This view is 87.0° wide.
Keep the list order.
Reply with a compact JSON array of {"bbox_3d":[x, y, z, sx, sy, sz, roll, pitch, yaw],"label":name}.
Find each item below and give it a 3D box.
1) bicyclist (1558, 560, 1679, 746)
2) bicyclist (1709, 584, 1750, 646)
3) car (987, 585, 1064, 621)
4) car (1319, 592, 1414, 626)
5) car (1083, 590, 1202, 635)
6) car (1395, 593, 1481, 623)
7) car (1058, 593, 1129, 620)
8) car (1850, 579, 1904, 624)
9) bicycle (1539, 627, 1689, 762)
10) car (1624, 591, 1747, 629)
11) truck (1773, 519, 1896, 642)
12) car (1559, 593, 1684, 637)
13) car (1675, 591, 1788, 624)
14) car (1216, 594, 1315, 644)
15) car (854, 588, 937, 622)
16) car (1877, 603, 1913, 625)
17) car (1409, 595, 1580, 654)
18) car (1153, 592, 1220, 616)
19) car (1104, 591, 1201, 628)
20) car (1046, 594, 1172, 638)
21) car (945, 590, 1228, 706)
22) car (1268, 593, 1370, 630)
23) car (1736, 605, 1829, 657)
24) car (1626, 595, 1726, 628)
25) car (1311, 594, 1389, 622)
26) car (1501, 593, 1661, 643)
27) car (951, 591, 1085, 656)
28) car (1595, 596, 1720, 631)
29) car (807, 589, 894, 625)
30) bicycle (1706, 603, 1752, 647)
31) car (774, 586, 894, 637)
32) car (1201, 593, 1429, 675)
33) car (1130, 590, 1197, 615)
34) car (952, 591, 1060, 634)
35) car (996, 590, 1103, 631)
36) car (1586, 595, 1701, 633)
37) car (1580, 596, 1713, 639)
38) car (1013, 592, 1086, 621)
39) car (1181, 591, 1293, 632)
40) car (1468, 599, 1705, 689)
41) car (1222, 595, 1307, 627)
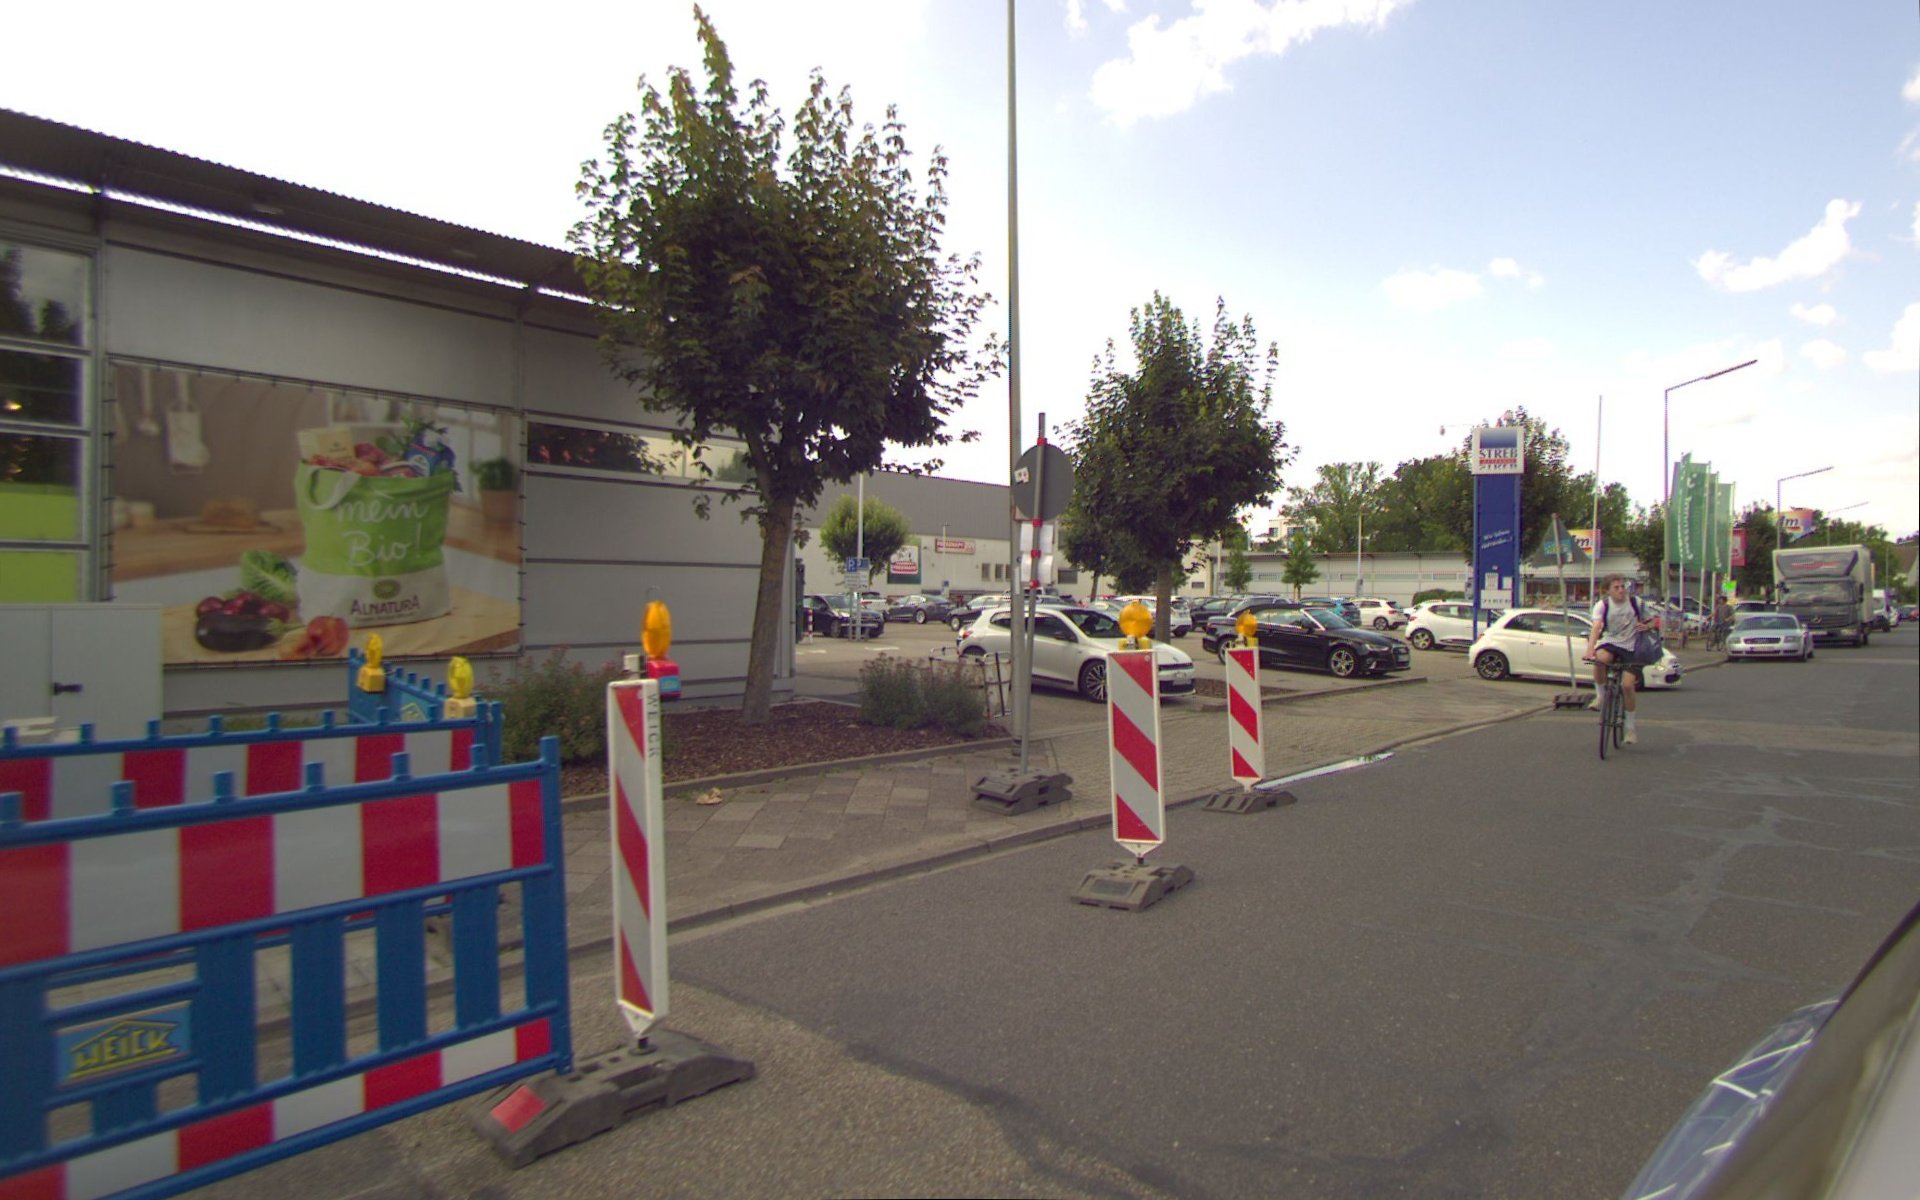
[{"bbox_3d":[6.923,0.526,10.630,0.806,1.815,1.187,-2,-2,45],"label":"bicyclist"},{"bbox_3d":[24.723,0.474,32.503,0.815,1.933,0.796,1,3,-42],"label":"bicyclist"},{"bbox_3d":[3.546,0.145,55.370,4.065,1.823,1.698,2,1,43],"label":"car"},{"bbox_3d":[19.710,0.396,49.121,3.935,1.502,1.698,2,1,43],"label":"car"},{"bbox_3d":[6.739,0.436,37.634,4.058,1.502,1.698,2,1,43],"label":"car"},{"bbox_3d":[26.345,0.429,55.861,3.935,1.502,1.698,2,1,43],"label":"car"},{"bbox_3d":[8.046,0.355,61.155,4.030,1.502,1.698,2,1,43],"label":"car"},{"bbox_3d":[53.130,0.104,58.587,2.052,2.440,5.366,-3,-2,44],"label":"car"},{"bbox_3d":[6.871,0.903,10.552,0.798,1.195,2.584,-2,-1,44],"label":"bicycle"},{"bbox_3d":[37.437,0.480,52.304,1.872,1.810,4.896,1,1,-45],"label":"car"},{"bbox_3d":[33.155,-0.609,38.230,8.143,4.170,2.779,1,-3,-45],"label":"truck"},{"bbox_3d":[25.674,0.553,39.344,3.880,1.541,1.723,2,1,41],"label":"car"},{"bbox_3d":[41.505,0.408,54.584,4.550,1.706,1.728,0,-1,29],"label":"car"},{"bbox_3d":[10.134,0.596,33.472,1.718,1.539,3.695,0,0,43],"label":"car"},{"bbox_3d":[-3.138,0.216,48.745,4.049,1.502,1.728,2,1,43],"label":"car"},{"bbox_3d":[65.198,0.991,70.534,1.694,1.475,3.492,-3,-2,44],"label":"car"},{"bbox_3d":[15.097,0.646,28.701,3.952,1.428,1.769,3,2,43],"label":"car"},{"bbox_3d":[15.175,0.252,67.907,4.130,1.502,1.698,2,1,43],"label":"car"},{"bbox_3d":[8.672,0.389,45.805,4.009,1.502,1.698,2,1,43],"label":"car"},{"bbox_3d":[5.159,0.516,35.350,4.104,1.355,1.766,2,1,43],"label":"car"},{"bbox_3d":[1.902,0.655,16.025,4.105,1.481,1.958,3,1,45],"label":"car"},{"bbox_3d":[16.148,0.475,45.579,3.981,1.502,1.714,2,1,43],"label":"car"},{"bbox_3d":[23.613,0.880,29.005,1.661,1.358,3.920,-4,-3,44],"label":"car"},{"bbox_3d":[35.628,0.555,50.435,1.626,1.518,3.816,1,1,-43],"label":"car"},{"bbox_3d":[22.997,0.442,59.754,3.935,1.502,1.698,2,1,43],"label":"car"},{"bbox_3d":[20.785,0.552,33.982,4.309,1.462,1.817,2,1,44],"label":"car"},{"bbox_3d":[1.560,0.521,25.588,1.672,1.428,4.344,0,1,29],"label":"car"},{"bbox_3d":[32.149,0.599,46.738,4.483,1.455,1.828,2,1,45],"label":"car"},{"bbox_3d":[-5.124,0.313,47.125,4.184,1.502,1.698,2,1,43],"label":"car"},{"bbox_3d":[24.719,0.795,32.527,1.851,1.310,0.793,0,4,-43],"label":"bicycle"},{"bbox_3d":[-4.190,0.341,33.250,4.049,1.502,1.698,2,1,43],"label":"car"},{"bbox_3d":[7.367,0.641,21.314,1.776,1.448,4.185,1,1,-43],"label":"car"},{"bbox_3d":[13.294,0.177,66.254,4.014,1.502,1.698,2,1,43],"label":"car"},{"bbox_3d":[1.733,0.443,39.100,4.041,1.502,1.698,2,1,43],"label":"car"},{"bbox_3d":[3.566,0.393,40.845,4.117,1.502,1.698,2,1,43],"label":"car"},{"bbox_3d":[29.124,0.582,43.177,3.880,1.450,1.723,2,1,41],"label":"car"},{"bbox_3d":[27.881,0.682,41.170,4.281,1.562,1.723,2,1,41],"label":"car"},{"bbox_3d":[5.047,0.327,57.383,3.922,1.502,1.698,2,1,43],"label":"car"},{"bbox_3d":[11.086,0.438,40.622,3.994,1.502,1.698,2,1,43],"label":"car"},{"bbox_3d":[12.158,0.784,19.796,1.659,1.488,3.608,1,1,-40],"label":"car"},{"bbox_3d":[15.915,0.560,53.037,3.935,1.502,1.698,2,1,43],"label":"car"}]
